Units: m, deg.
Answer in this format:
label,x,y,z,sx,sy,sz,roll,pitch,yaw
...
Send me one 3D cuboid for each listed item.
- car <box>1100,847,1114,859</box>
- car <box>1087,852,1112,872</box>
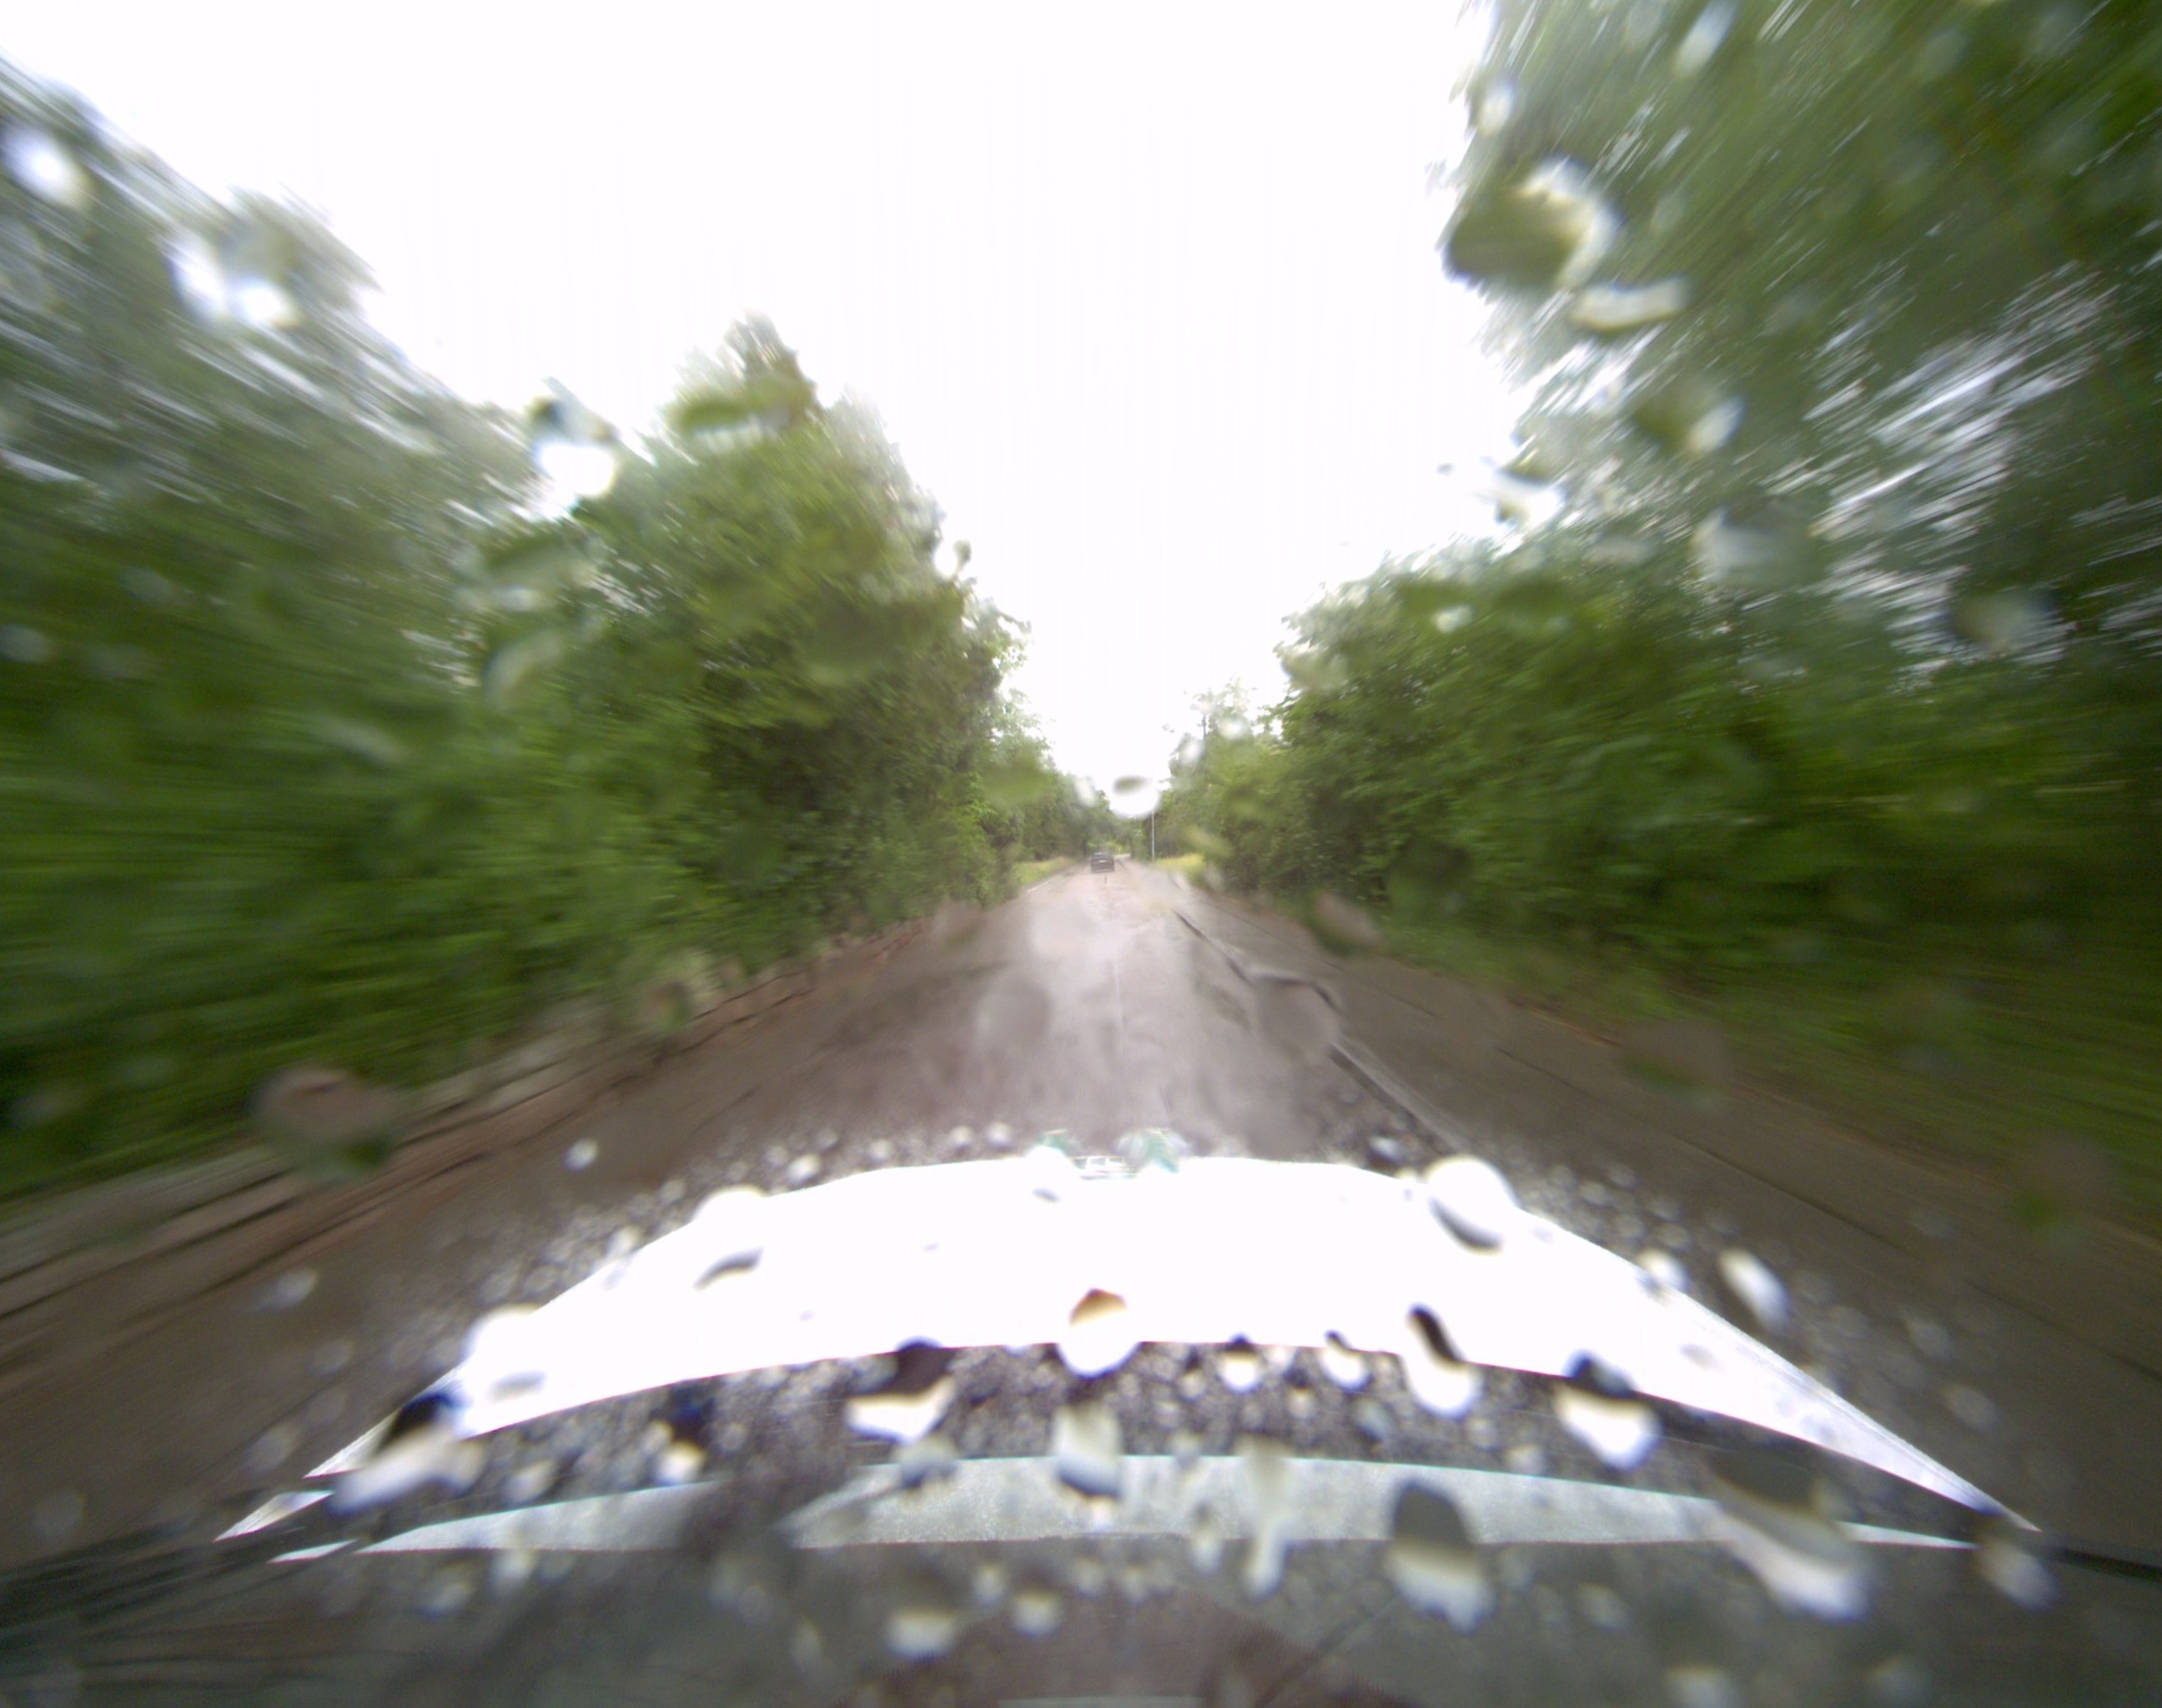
label,x,y,z,sx,sy,sz,roll,pitch,yaw
car,3.245,-0.064,101.621,1.628,1.414,3.547,-2,-1,3
car,1.389,0.610,60.892,1.627,1.450,3.548,-2,-1,4
